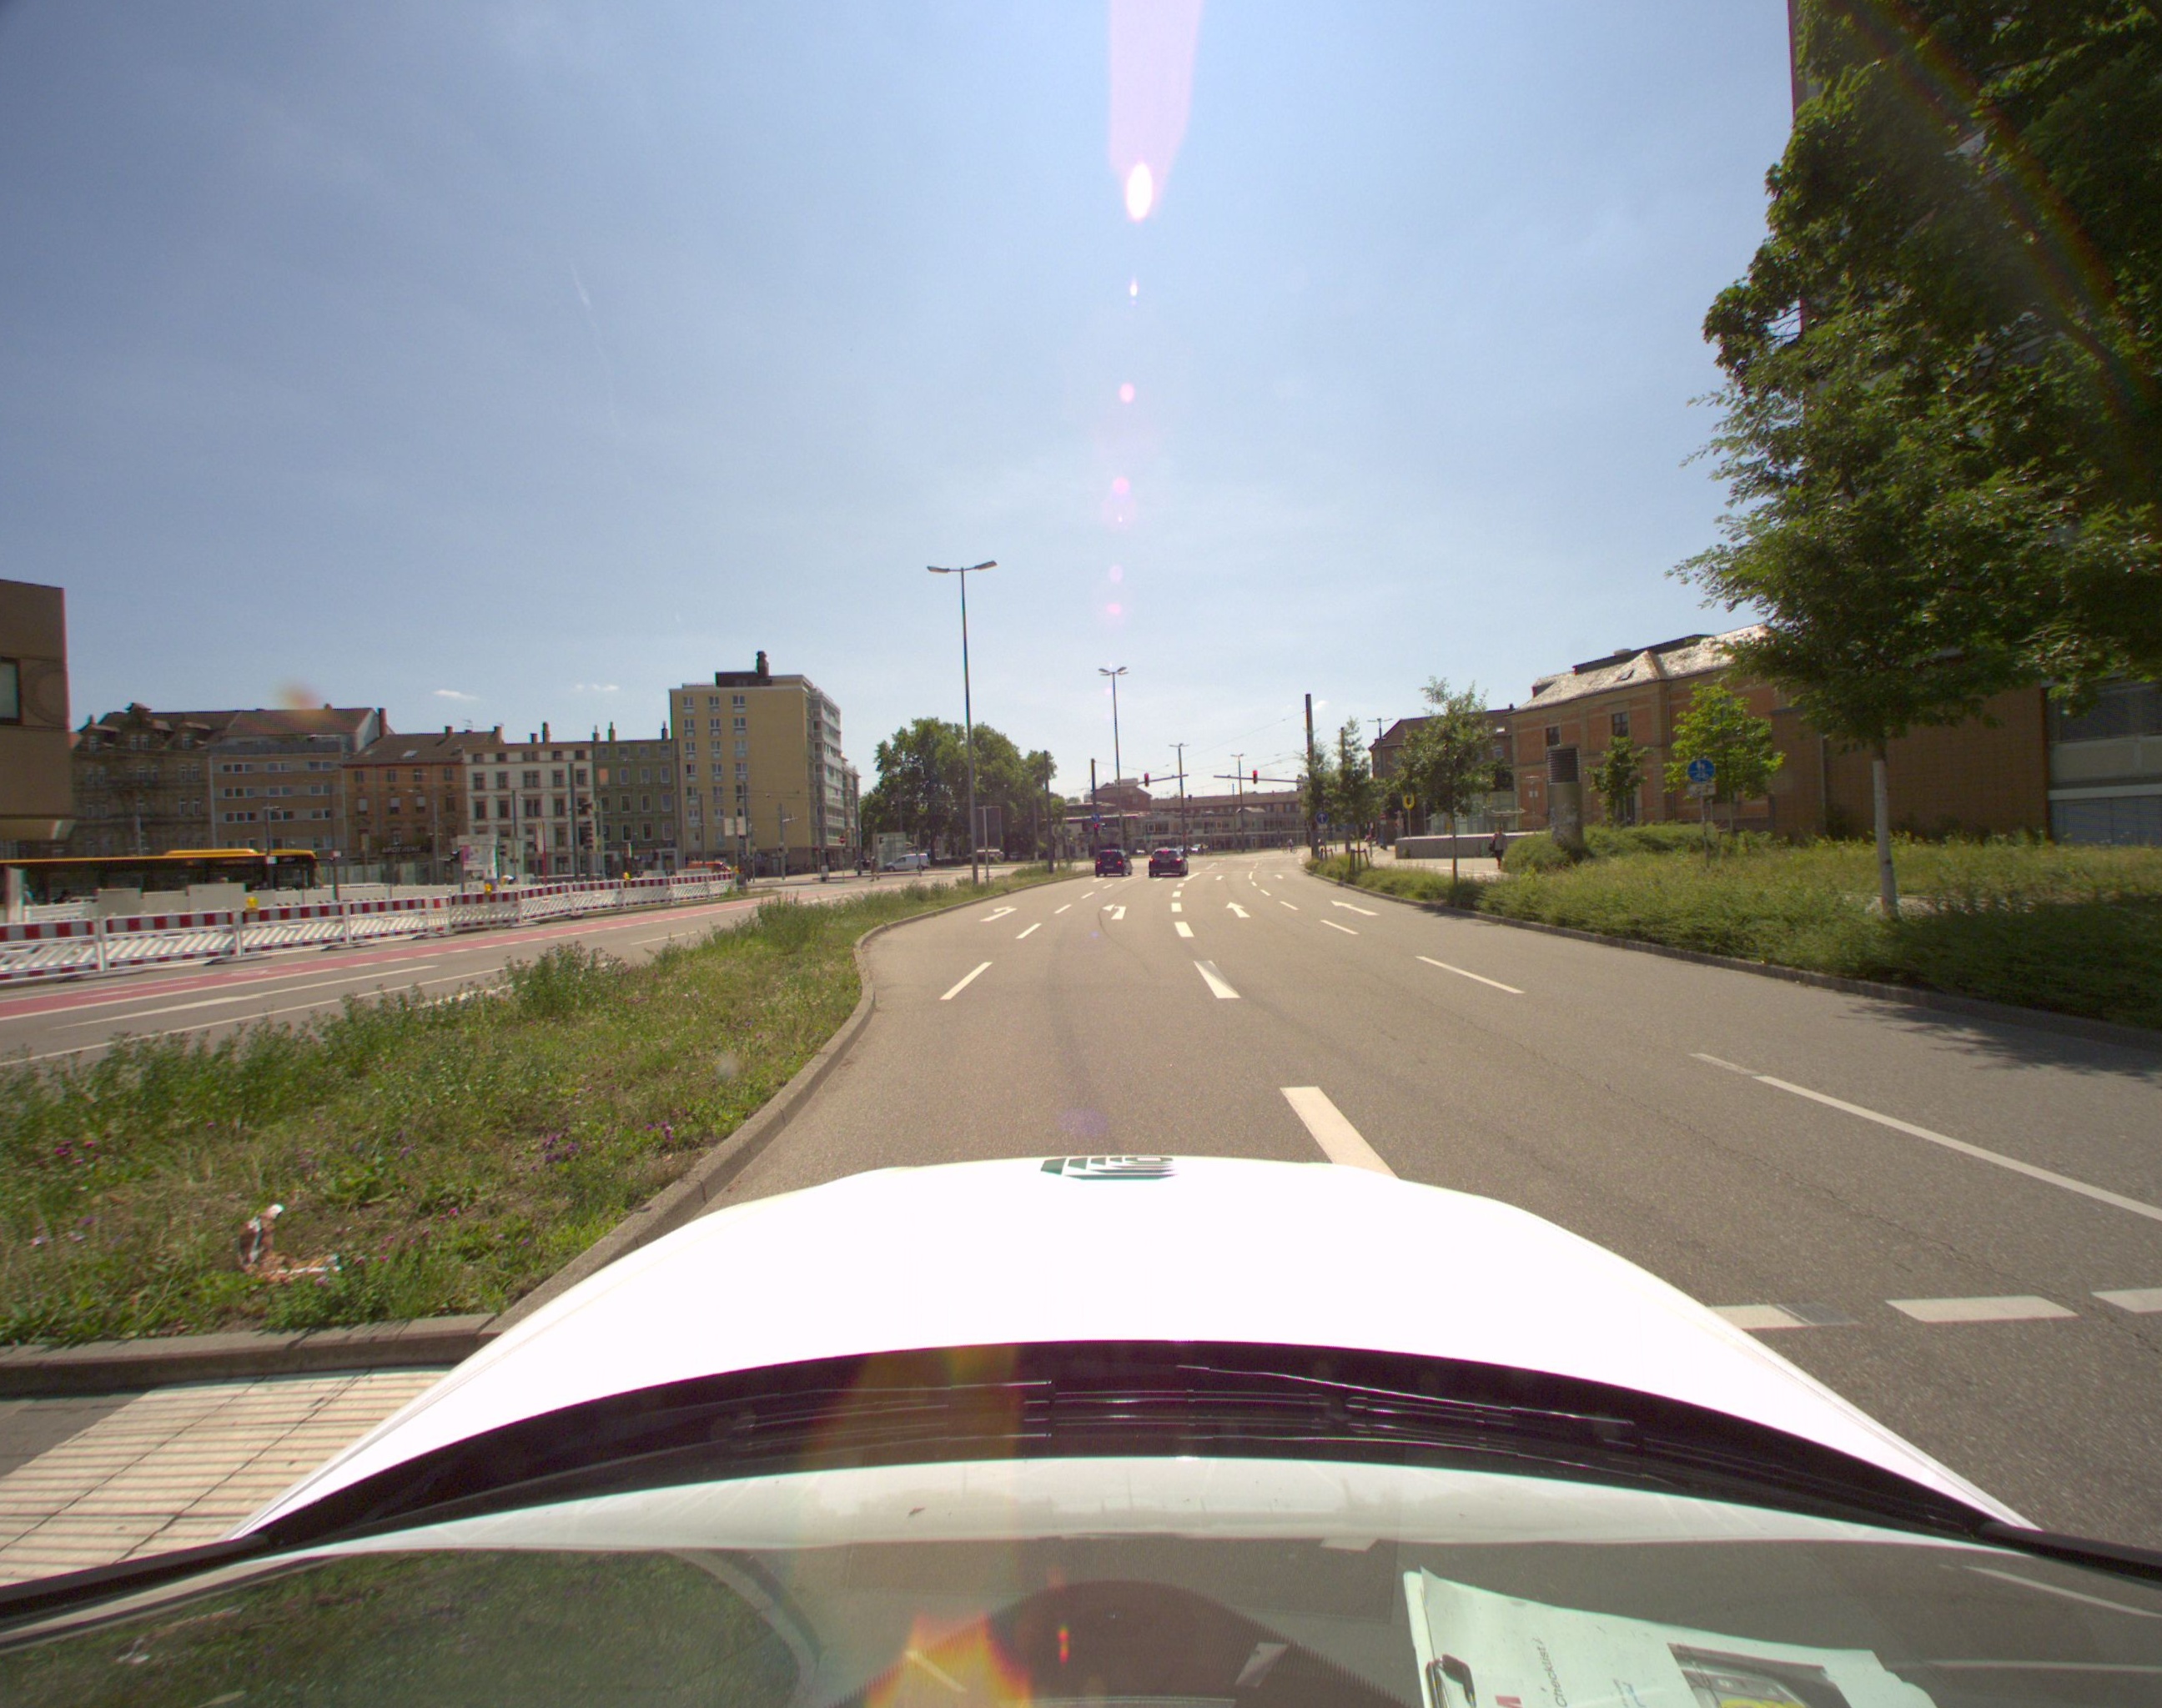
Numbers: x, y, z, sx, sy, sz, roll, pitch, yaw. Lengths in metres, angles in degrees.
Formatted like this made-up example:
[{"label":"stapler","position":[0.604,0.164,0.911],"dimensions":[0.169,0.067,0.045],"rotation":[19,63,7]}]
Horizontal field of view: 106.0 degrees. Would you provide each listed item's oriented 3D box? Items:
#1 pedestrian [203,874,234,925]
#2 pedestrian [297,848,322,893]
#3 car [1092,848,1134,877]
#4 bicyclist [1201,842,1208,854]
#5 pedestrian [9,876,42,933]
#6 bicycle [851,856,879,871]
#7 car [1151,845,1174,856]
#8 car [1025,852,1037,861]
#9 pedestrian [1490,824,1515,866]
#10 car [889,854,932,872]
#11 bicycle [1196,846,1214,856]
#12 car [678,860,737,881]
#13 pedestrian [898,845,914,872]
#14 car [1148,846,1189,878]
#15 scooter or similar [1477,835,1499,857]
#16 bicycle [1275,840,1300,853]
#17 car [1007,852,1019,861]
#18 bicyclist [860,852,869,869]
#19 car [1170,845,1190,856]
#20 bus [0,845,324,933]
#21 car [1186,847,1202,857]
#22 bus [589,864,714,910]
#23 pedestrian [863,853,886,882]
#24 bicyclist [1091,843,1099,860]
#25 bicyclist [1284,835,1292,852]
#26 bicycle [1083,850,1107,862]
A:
[{"label":"pedestrian","position":[-35.461,1.857,33.491],"dimensions":[0.667,1.995,0.604],"rotation":[-4,3,-38]},{"label":"pedestrian","position":[-34.932,0.733,36.858],"dimensions":[0.603,1.995,0.668],"rotation":[0,3,42]},{"label":"car","position":[1.844,0.447,45.615],"dimensions":[1.610,1.463,4.013],"rotation":[-2,0,12]},{"label":"bicyclist","position":[15.346,-0.722,101.080],"dimensions":[0.731,1.479,0.654],"rotation":[-2,2,-7]},{"label":"pedestrian","position":[-38.658,1.847,29.833],"dimensions":[0.564,1.995,0.588],"rotation":[0,3,41]},{"label":"bicycle","position":[-27.474,1.206,103.486],"dimensions":[3.338,1.595,0.810],"rotation":[-4,3,-35]},{"label":"car","position":[10.874,-0.476,108.513],"dimensions":[1.604,1.390,4.150],"rotation":[-2,0,29]},{"label":"car","position":[-9.255,0.415,150.333],"dimensions":[1.502,1.418,3.428],"rotation":[-2,2,6]},{"label":"pedestrian","position":[17.468,-0.391,33.766],"dimensions":[0.727,1.705,0.813],"rotation":[-2,1,13]},{"label":"car","position":[-18.130,0.945,86.599],"dimensions":[4.304,1.626,1.810],"rotation":[-2,2,-8]},{"label":"bicycle","position":[15.353,-0.415,101.104],"dimensions":[2.158,1.107,0.456],"rotation":[-2,2,-6]},{"label":"car","position":[-34.767,1.514,75.942],"dimensions":[4.612,1.613,1.674],"rotation":[-2,2,-3]},{"label":"pedestrian","position":[-19.428,0.494,90.682],"dimensions":[1.207,2.937,1.340],"rotation":[-2,2,9]},{"label":"car","position":[4.808,0.389,44.025],"dimensions":[1.705,1.556,4.602],"rotation":[-2,0,12]},{"label":"scooter or similar","position":[22.632,-0.463,45.310],"dimensions":[0.396,1.167,1.286],"rotation":[-2,2,-10]},{"label":"bicycle","position":[24.106,-0.860,95.212],"dimensions":[2.808,1.463,0.636],"rotation":[-2,2,10]},{"label":"car","position":[-12.640,0.498,151.320],"dimensions":[1.417,1.508,3.445],"rotation":[-2,2,6]},{"label":"bicyclist","position":[-27.480,0.768,103.466],"dimensions":[0.742,2.105,0.768],"rotation":[-4,3,-36]},{"label":"car","position":[13.918,-0.496,114.244],"dimensions":[1.523,1.277,3.561],"rotation":[-1,3,29]},{"label":"bus","position":[-39.555,1.358,33.125],"dimensions":[3.690,3.041,12.333],"rotation":[-2,0,38]},{"label":"car","position":[16.700,-0.373,120.193],"dimensions":[1.418,1.285,3.280],"rotation":[-1,3,24]},{"label":"bus","position":[-16.492,1.214,31.674],"dimensions":[1.238,1.249,5.830],"rotation":[-2,2,5]},{"label":"pedestrian","position":[-14.229,0.947,56.192],"dimensions":[1.173,1.933,0.904],"rotation":[-2,2,5]},{"label":"bicyclist","position":[1.654,-0.329,97.368],"dimensions":[0.842,1.965,0.627],"rotation":[-2,2,4]},{"label":"bicyclist","position":[24.168,-1.229,95.185],"dimensions":[0.758,1.937,0.662],"rotation":[-2,2,10]},{"label":"bicycle","position":[1.655,0.246,97.381],"dimensions":[2.761,1.385,0.672],"rotation":[-2,2,4]}]
